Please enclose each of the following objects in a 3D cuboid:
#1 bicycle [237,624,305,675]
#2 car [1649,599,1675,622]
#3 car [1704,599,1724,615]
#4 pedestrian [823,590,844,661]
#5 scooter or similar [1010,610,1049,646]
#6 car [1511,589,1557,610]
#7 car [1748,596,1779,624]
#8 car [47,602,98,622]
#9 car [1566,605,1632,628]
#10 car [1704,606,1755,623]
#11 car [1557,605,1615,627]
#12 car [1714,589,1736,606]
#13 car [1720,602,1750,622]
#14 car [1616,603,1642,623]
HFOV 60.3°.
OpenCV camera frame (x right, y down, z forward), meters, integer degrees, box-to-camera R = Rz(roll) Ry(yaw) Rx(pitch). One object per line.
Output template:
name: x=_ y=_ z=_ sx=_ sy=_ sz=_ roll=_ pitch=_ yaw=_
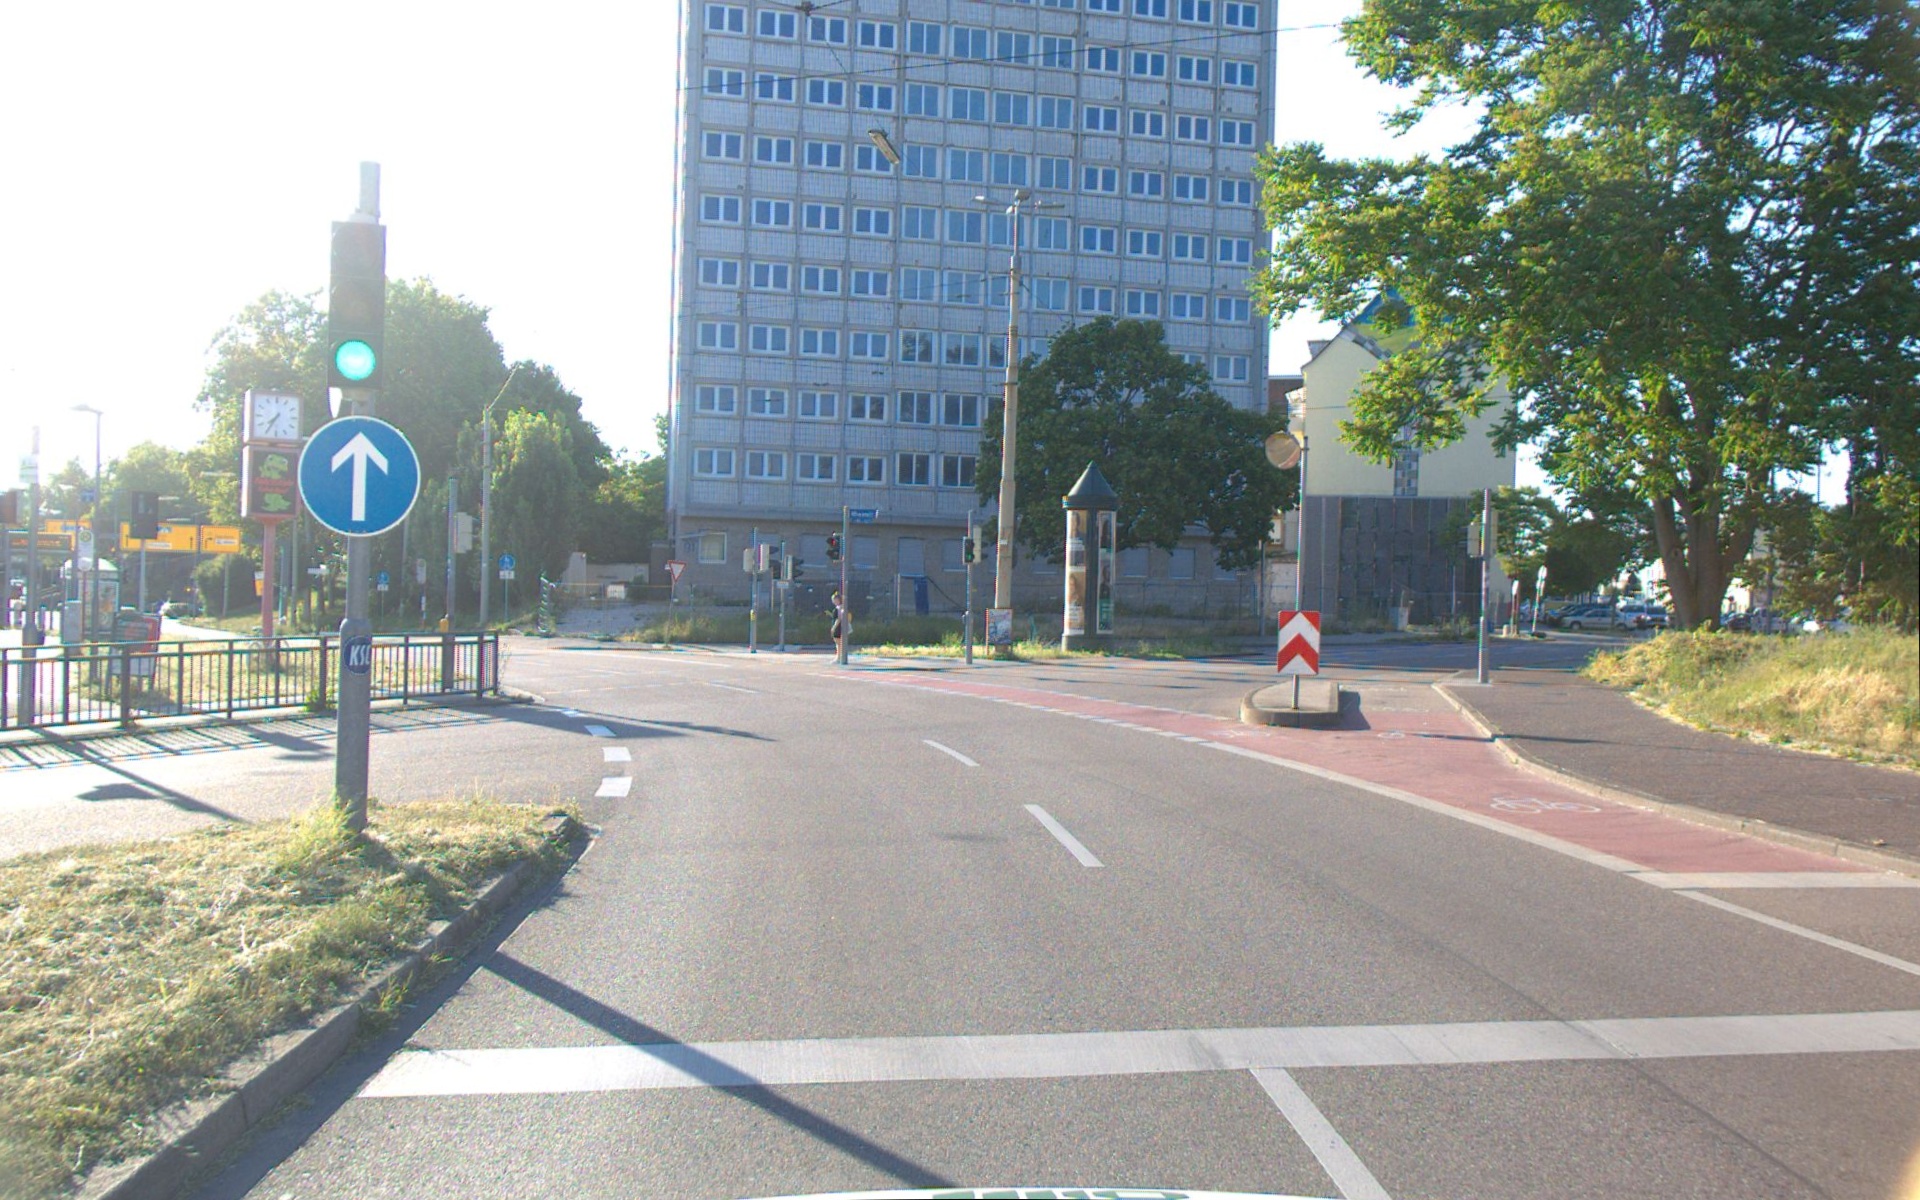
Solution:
bicycle: x=-13.397 y=0.951 z=32.196 sx=0.542 sy=0.934 sz=1.743 roll=-1 pitch=0 yaw=2
car: x=59.676 y=0.885 z=140.525 sx=1.823 sy=1.937 sz=3.996 roll=0 pitch=0 yaw=27
car: x=76.208 y=0.740 z=167.198 sx=1.821 sy=1.570 sz=3.998 roll=0 pitch=0 yaw=24
pedestrian: x=-2.921 y=0.590 z=38.290 sx=0.427 sy=1.640 sz=0.630 roll=0 pitch=0 yaw=-1
scooter or similar: x=2.341 y=0.947 z=56.006 sx=1.273 sy=1.190 sz=0.326 roll=0 pitch=0 yaw=-11
car: x=52.554 y=-0.031 z=151.384 sx=3.907 sy=1.937 sz=1.864 roll=0 pitch=0 yaw=24
car: x=57.261 y=0.730 z=117.891 sx=1.821 sy=1.937 sz=3.998 roll=0 pitch=0 yaw=23
car: x=-102.935 y=1.390 z=191.906 sx=4.762 sy=2.049 sz=1.994 roll=2 pitch=0 yaw=-13
car: x=38.480 y=0.965 z=99.683 sx=3.623 sy=1.324 sz=1.512 roll=1 pitch=0 yaw=19
car: x=68.303 y=1.300 z=146.858 sx=3.965 sy=1.484 sz=1.879 roll=0 pitch=0 yaw=22
car: x=40.608 y=1.039 z=107.365 sx=3.472 sy=1.373 sz=1.708 roll=0 pitch=0 yaw=18
car: x=71.273 y=-0.194 z=154.167 sx=1.821 sy=1.570 sz=3.877 roll=0 pitch=0 yaw=24
car: x=63.563 y=0.987 z=135.621 sx=1.889 sy=1.570 sz=4.001 roll=0 pitch=0 yaw=20
car: x=51.074 y=0.964 z=126.215 sx=1.835 sy=1.484 sz=3.786 roll=0 pitch=1 yaw=23
